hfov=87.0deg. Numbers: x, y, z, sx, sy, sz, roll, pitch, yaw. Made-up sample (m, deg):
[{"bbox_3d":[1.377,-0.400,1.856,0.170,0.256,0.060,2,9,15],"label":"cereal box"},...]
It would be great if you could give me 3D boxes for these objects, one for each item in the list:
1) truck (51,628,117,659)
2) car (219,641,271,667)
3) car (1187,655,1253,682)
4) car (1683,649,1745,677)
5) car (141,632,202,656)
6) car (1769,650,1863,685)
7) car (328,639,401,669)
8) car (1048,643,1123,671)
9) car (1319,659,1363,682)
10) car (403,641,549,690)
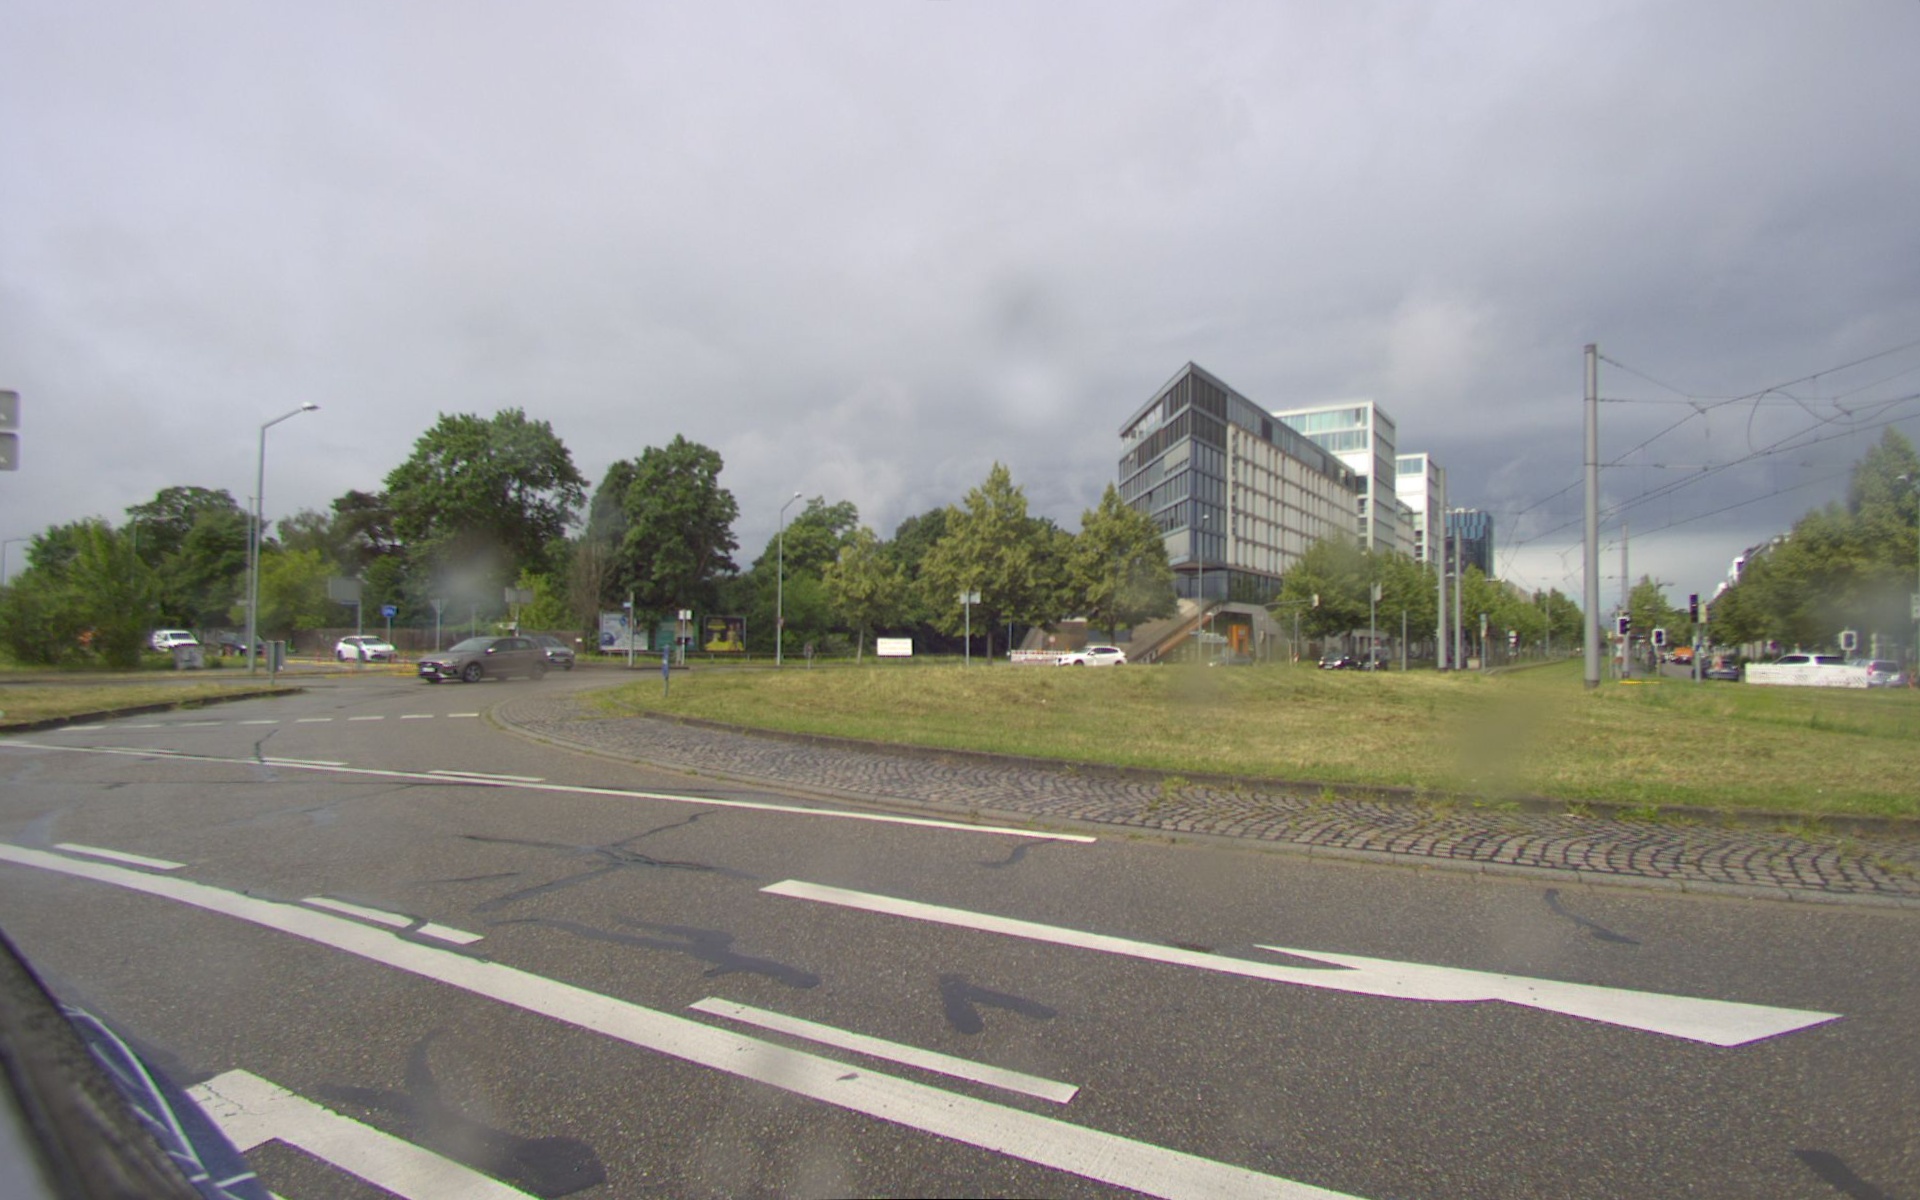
[{"bbox_3d":[-79.955,3.963,92.365,6.919,2.747,2.436,-1,-4,31],"label":"truck"},{"bbox_3d":[-49.076,3.746,69.480,4.480,1.676,1.850,-4,-6,41],"label":"car"},{"bbox_3d":[17.042,4.504,66.263,4.398,1.685,1.870,4,-5,-38],"label":"car"},{"bbox_3d":[42.993,3.604,57.815,1.790,1.529,3.971,-1,-3,21],"label":"car"},{"bbox_3d":[-58.644,3.315,75.273,4.462,1.676,1.858,-2,-5,28],"label":"car"},{"bbox_3d":[39.723,3.117,47.059,1.481,1.522,3.495,0,-3,4],"label":"car"},{"bbox_3d":[-35.352,3.164,60.044,4.466,1.676,1.856,-2,-2,31],"label":"car"},{"bbox_3d":[6.984,3.184,56.275,3.836,1.519,1.732,2,-3,-25],"label":"car"},{"bbox_3d":[26.066,4.814,69.135,1.725,1.519,3.854,-2,-4,38],"label":"car"},{"bbox_3d":[-15.138,2.009,31.885,1.723,1.424,4.098,-2,-3,21],"label":"car"}]
